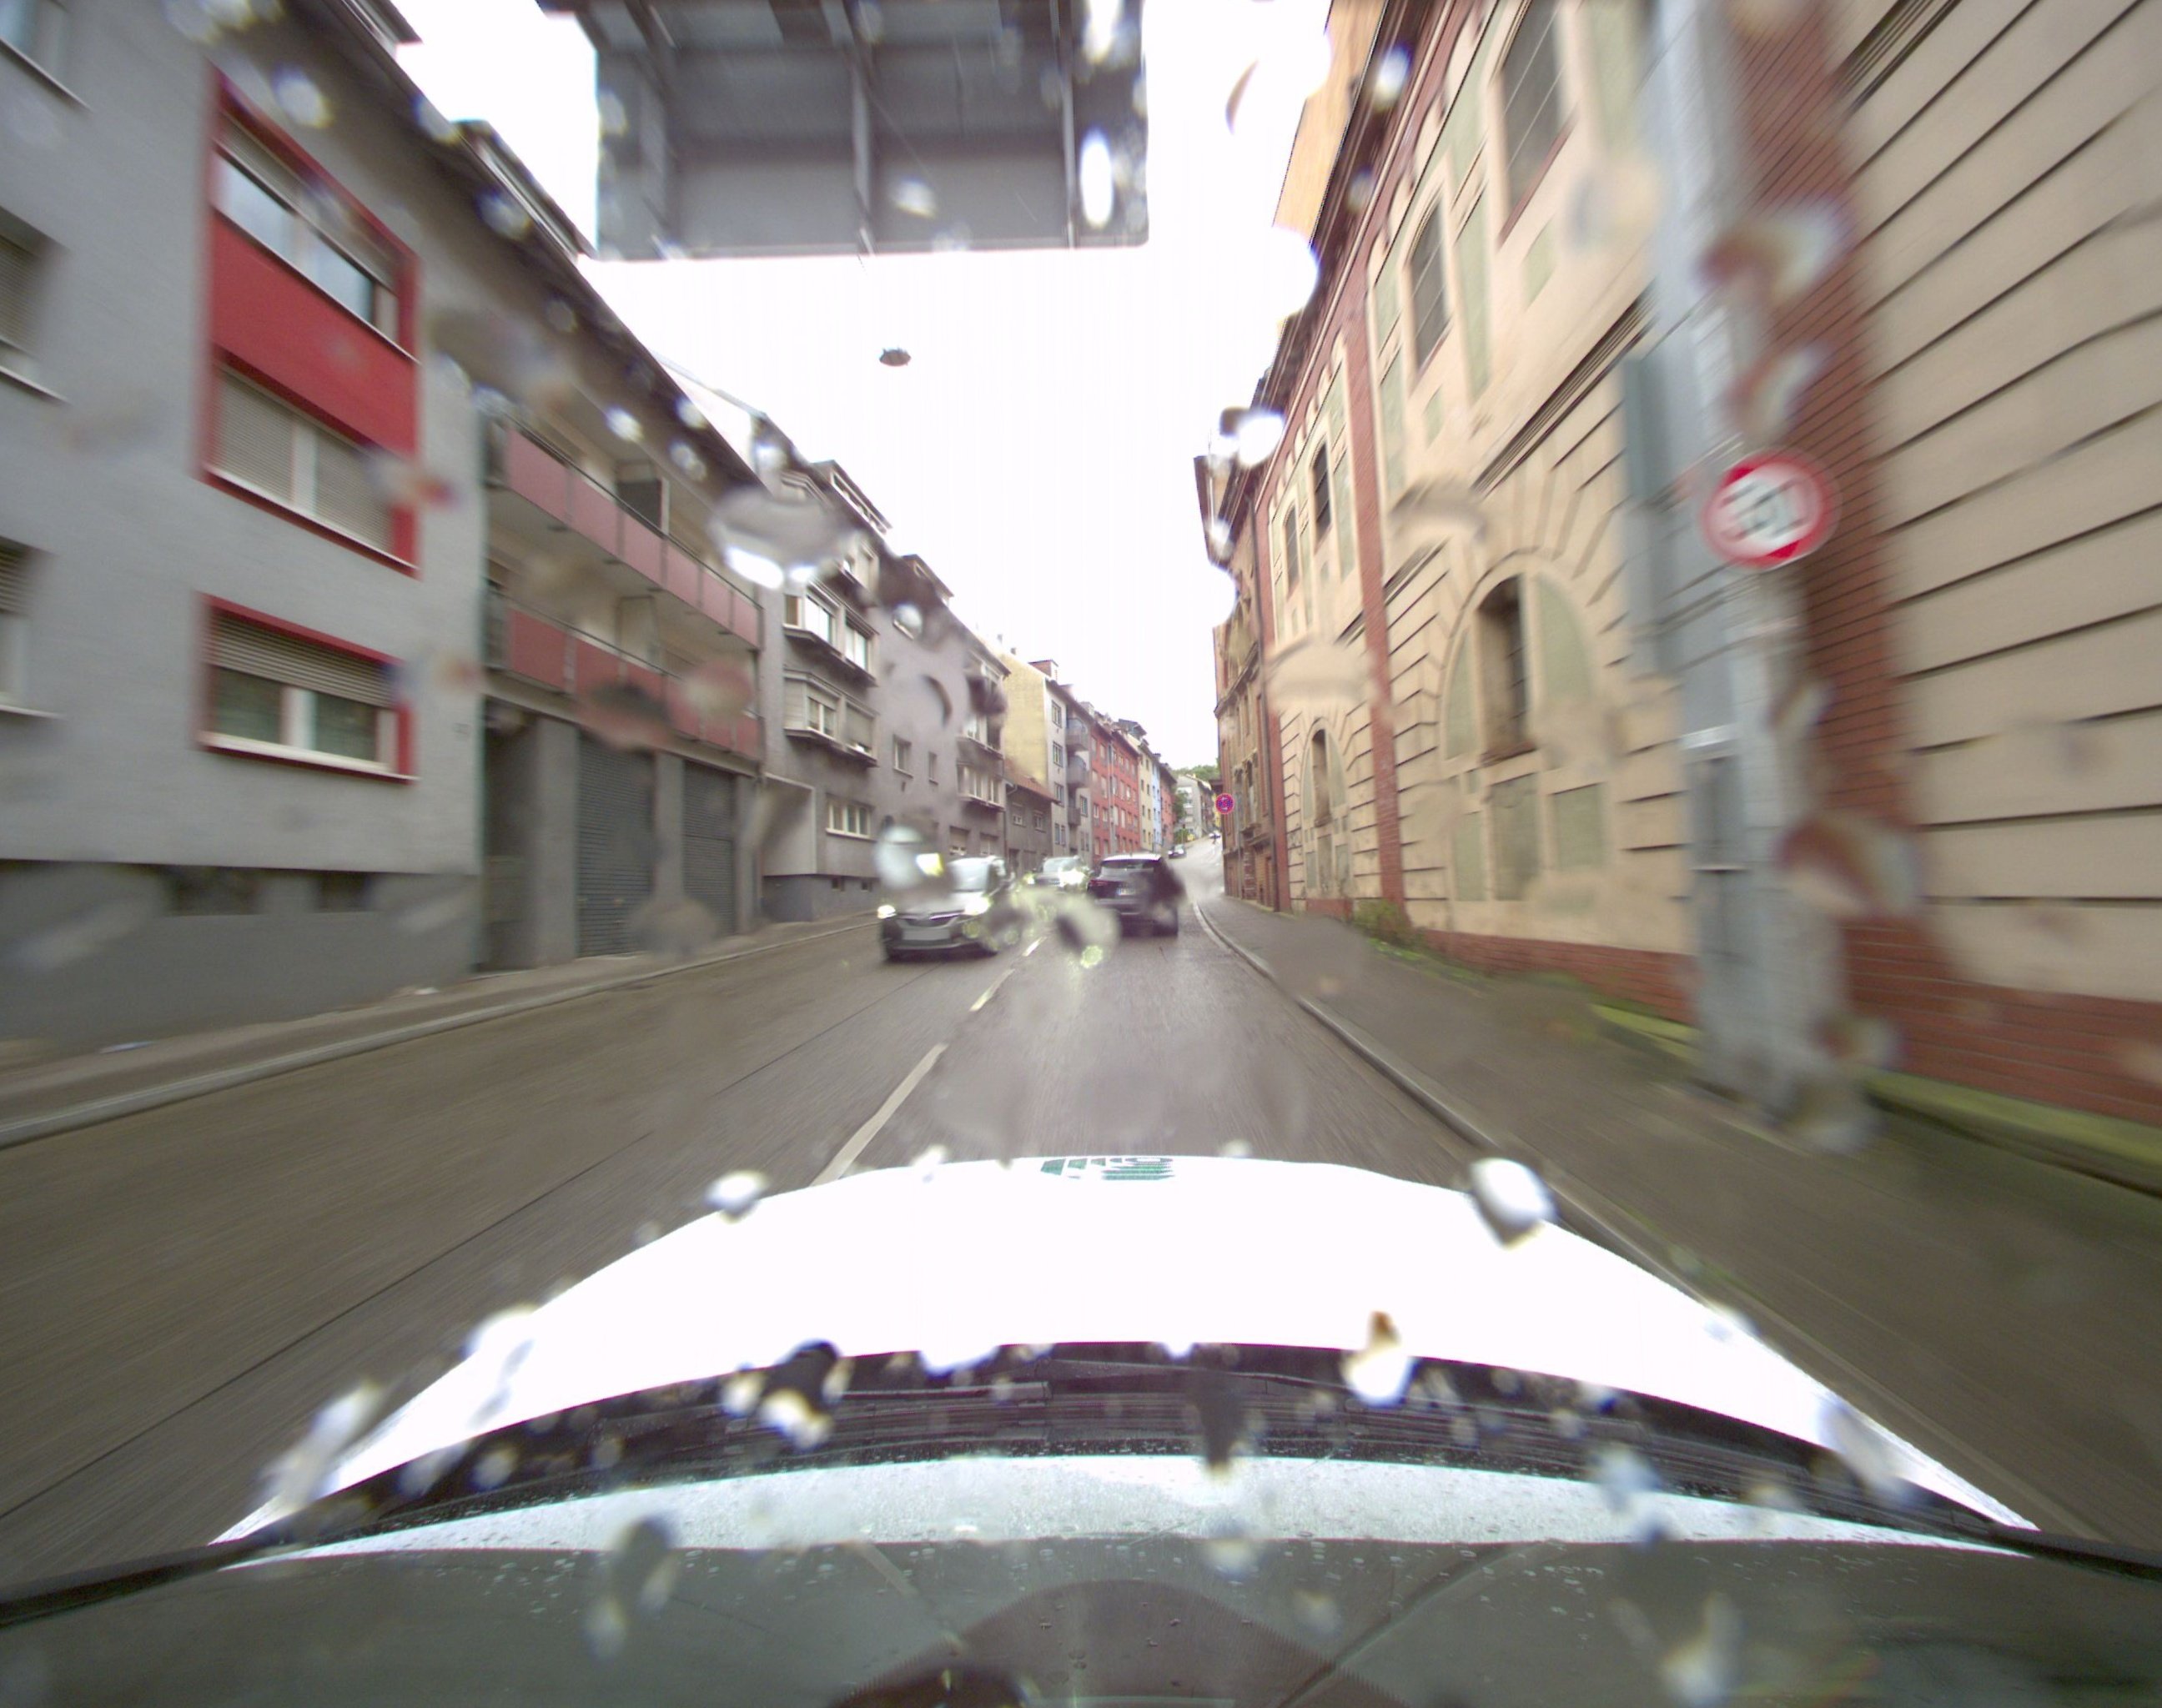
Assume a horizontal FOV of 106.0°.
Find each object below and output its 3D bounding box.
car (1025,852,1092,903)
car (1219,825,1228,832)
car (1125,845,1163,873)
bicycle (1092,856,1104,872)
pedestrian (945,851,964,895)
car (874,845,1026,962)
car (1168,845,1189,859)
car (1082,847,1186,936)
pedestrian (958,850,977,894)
[{"bbox_3d":[-0.708,0.786,28.545,1.755,1.576,3.771,-3,-1,6],"label":"car"},{"bbox_3d":[34.363,-6.139,195.969,1.782,1.510,4.015,-3,1,13],"label":"car"},{"bbox_3d":[4.000,0.308,50.979,1.752,1.576,4.049,-3,-1,12],"label":"car"},{"bbox_3d":[1.333,0.785,64.426,0.495,1.107,1.807,-3,1,14],"label":"bicycle"},{"bbox_3d":[-5.261,0.779,33.980,0.520,1.776,0.624,-3,0,7],"label":"pedestrian"},{"bbox_3d":[-2.089,0.747,14.126,1.757,1.657,3.989,-3,-1,2],"label":"car"},{"bbox_3d":[10.898,-0.254,90.957,1.632,1.378,3.867,-4,0,15],"label":"car"},{"bbox_3d":[1.054,0.706,17.057,1.874,1.594,3.923,-2,0,2],"label":"car"},{"bbox_3d":[-4.726,0.753,33.899,0.520,1.776,0.624,-3,0,7],"label":"pedestrian"}]
